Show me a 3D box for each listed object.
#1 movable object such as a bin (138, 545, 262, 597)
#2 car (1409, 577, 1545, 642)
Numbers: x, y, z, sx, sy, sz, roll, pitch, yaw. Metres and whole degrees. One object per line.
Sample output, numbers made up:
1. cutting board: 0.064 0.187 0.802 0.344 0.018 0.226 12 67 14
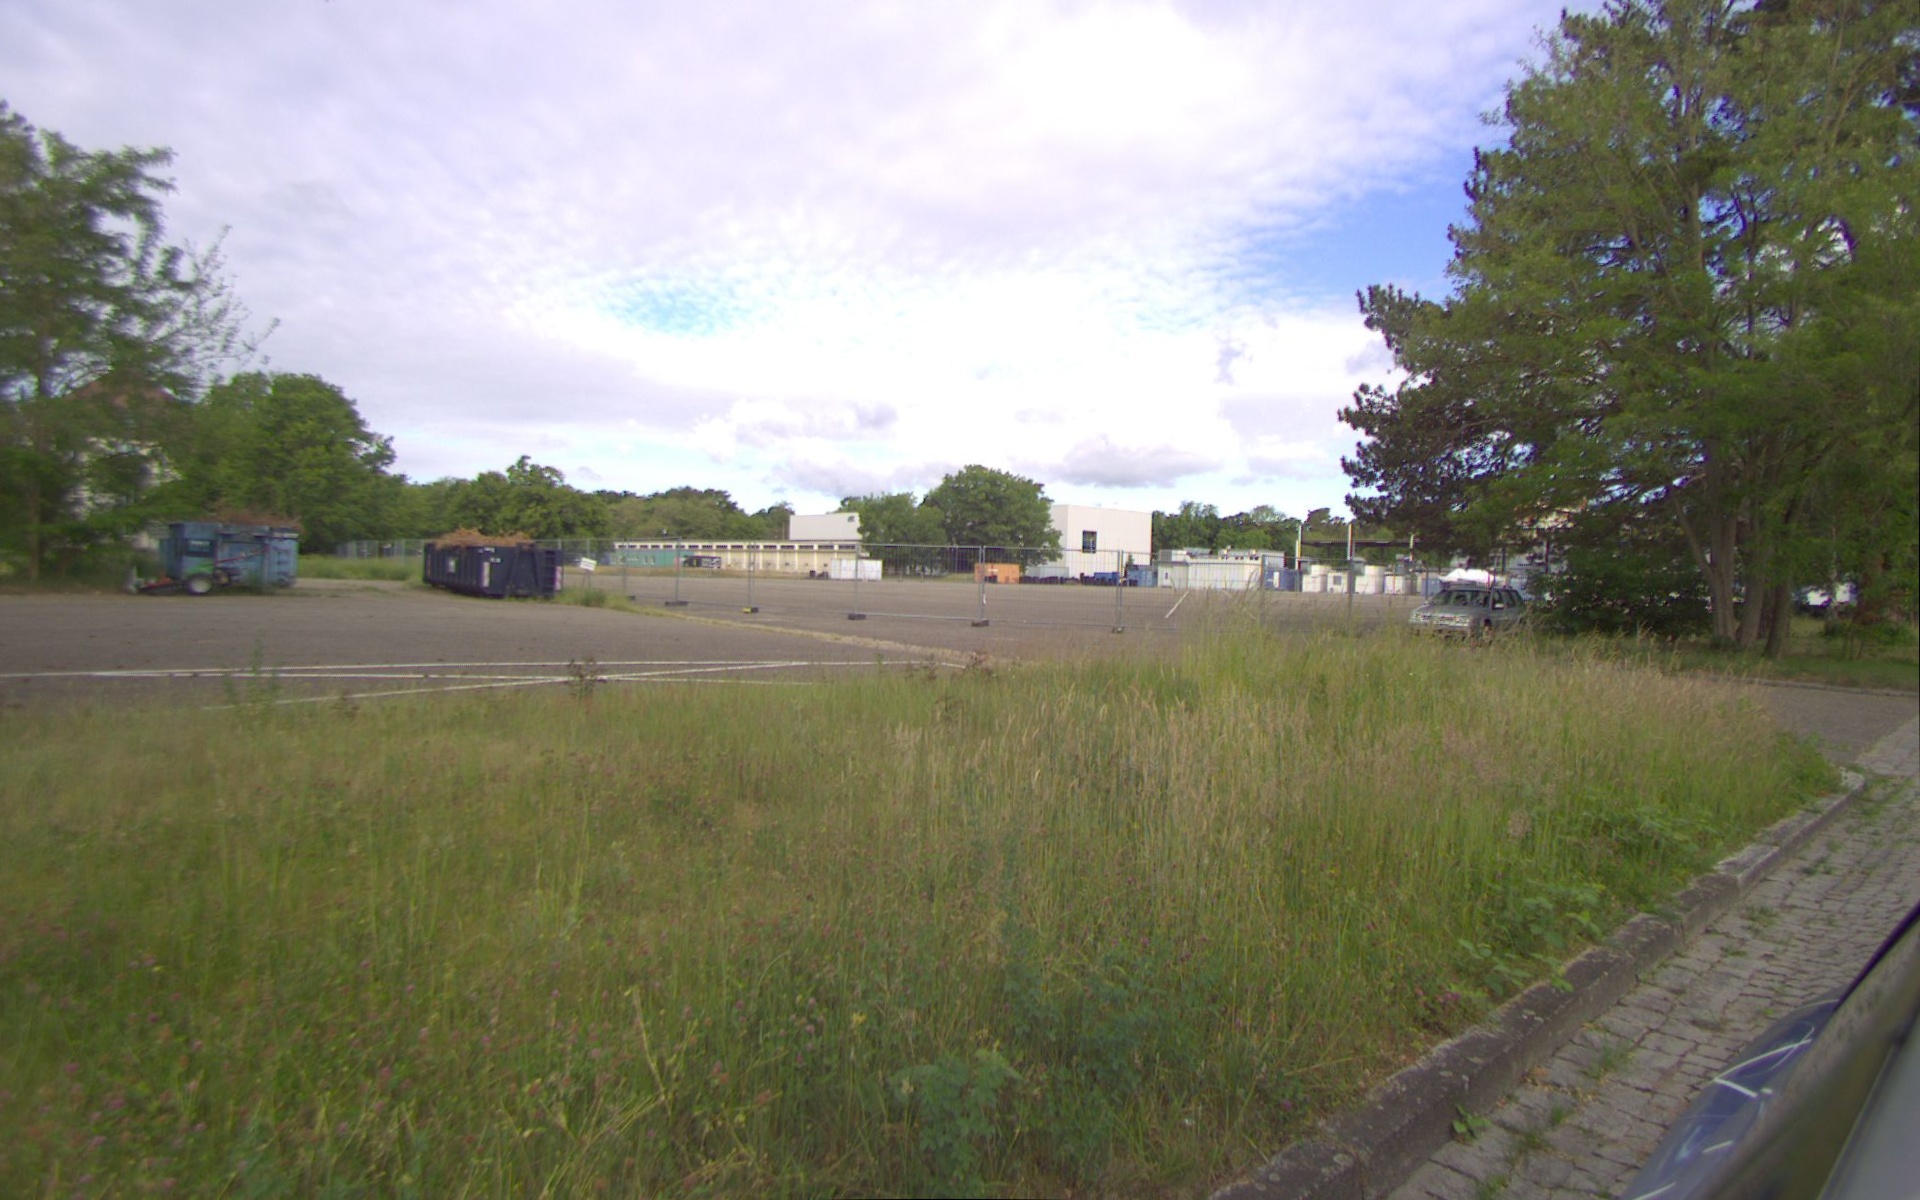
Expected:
1. movable object such as a bin: -17.834 -0.662 23.779 0.958 1.148 2.181 1 1 40
2. car: 13.026 0.190 25.380 4.415 1.468 1.676 0 2 -44
